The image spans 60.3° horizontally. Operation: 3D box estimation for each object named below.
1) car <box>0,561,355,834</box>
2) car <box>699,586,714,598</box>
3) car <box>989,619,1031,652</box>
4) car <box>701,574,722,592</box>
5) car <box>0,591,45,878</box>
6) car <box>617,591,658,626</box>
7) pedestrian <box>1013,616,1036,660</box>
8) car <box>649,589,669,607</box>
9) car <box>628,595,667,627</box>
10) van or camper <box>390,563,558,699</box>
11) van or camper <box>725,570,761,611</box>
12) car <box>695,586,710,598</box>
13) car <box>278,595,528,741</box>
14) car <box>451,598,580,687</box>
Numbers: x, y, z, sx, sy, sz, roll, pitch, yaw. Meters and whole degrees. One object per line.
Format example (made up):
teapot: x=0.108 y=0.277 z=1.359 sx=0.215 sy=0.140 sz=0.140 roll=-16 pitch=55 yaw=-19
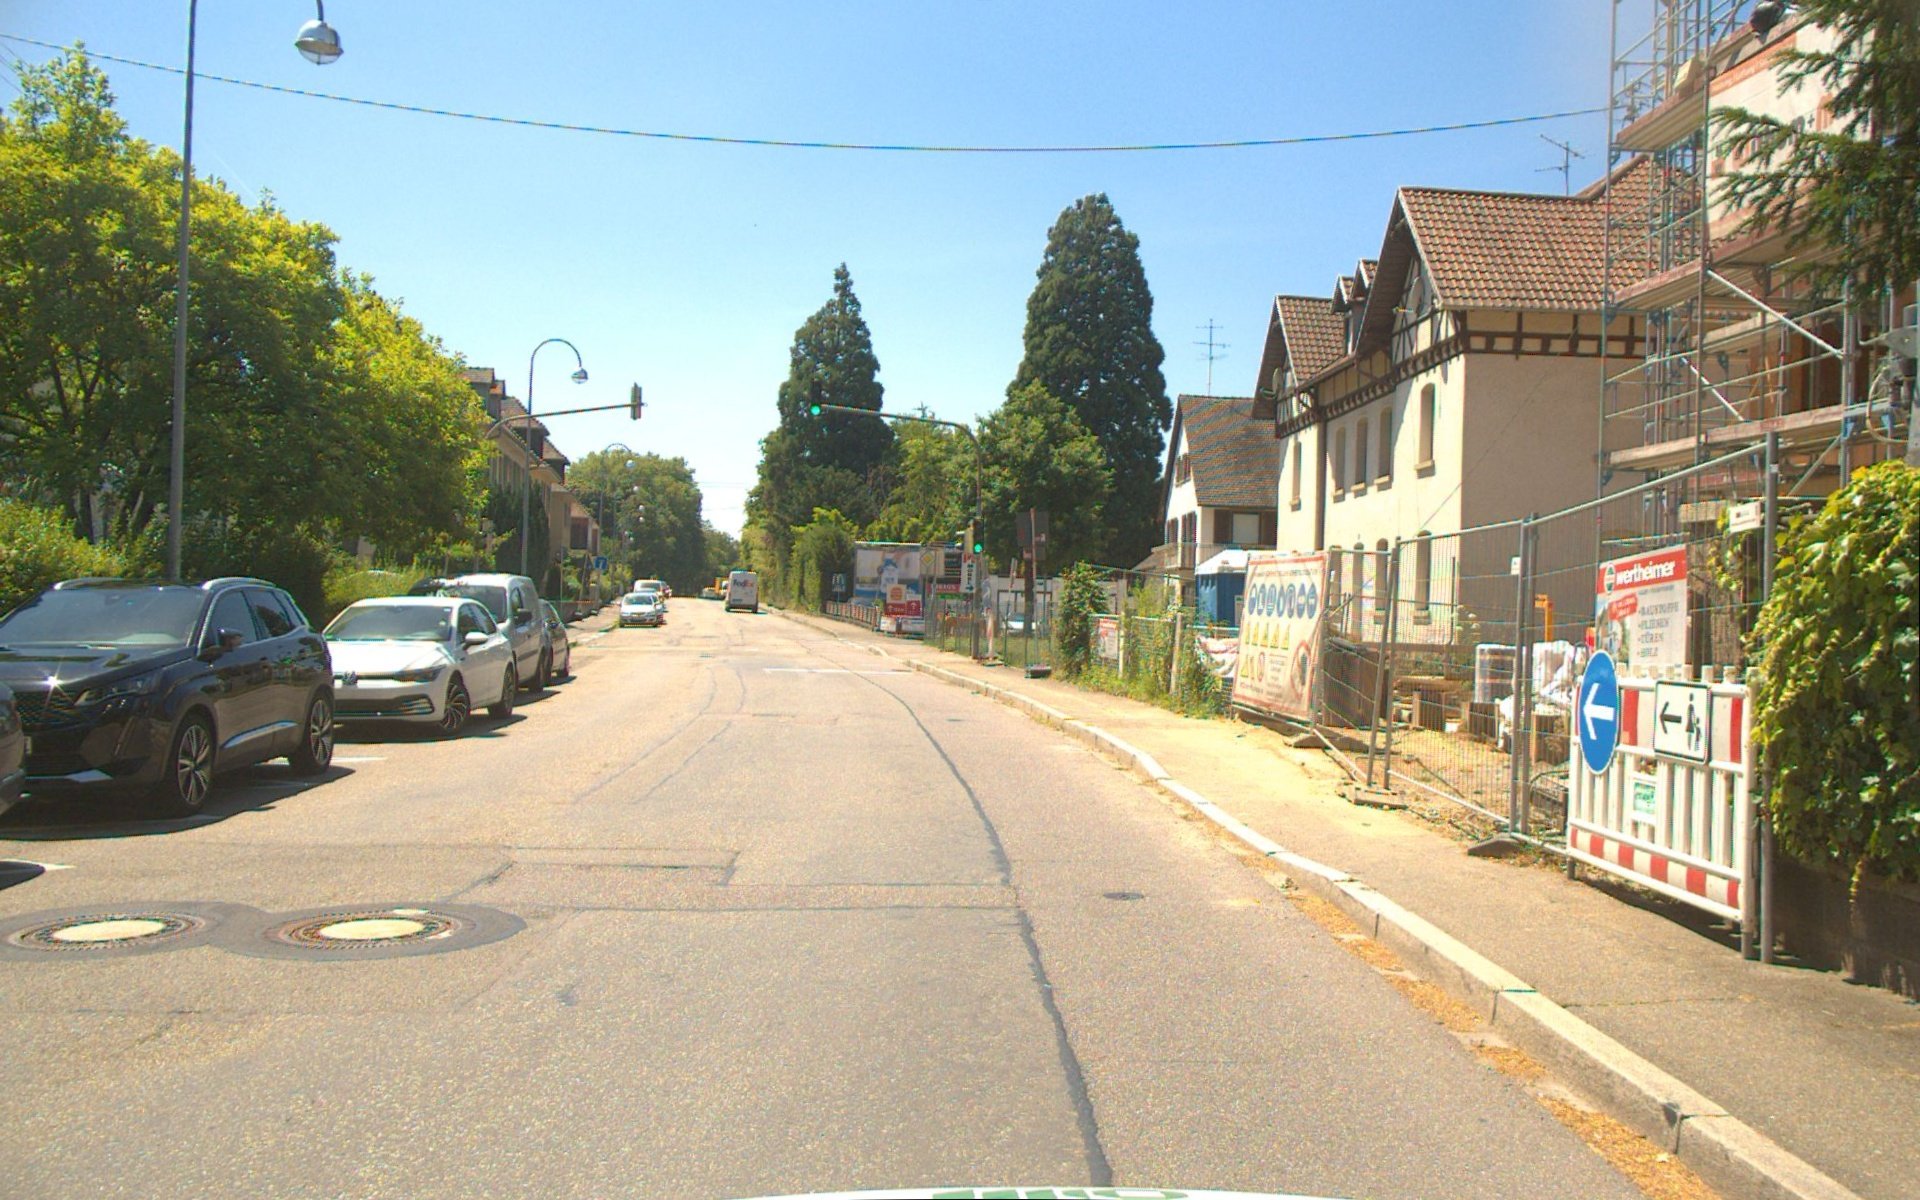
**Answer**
car: x=-5.976 y=0.599 z=12.261 sx=1.648 sy=1.666 sz=4.327 roll=0 pitch=0 yaw=-4
car: x=-35.238 y=-1.103 z=229.735 sx=1.958 sy=1.691 sz=3.990 roll=2 pitch=0 yaw=-11
car: x=2.152 y=1.499 z=70.745 sx=1.676 sy=1.292 sz=3.386 roll=2 pitch=0 yaw=3
car: x=-25.037 y=-1.725 z=166.417 sx=1.958 sy=1.691 sz=3.990 roll=2 pitch=0 yaw=-11
car: x=-5.725 y=0.702 z=6.889 sx=1.648 sy=1.501 sz=4.327 roll=0 pitch=0 yaw=-4
car: x=-14.128 y=0.370 z=72.444 sx=1.728 sy=1.473 sz=3.914 roll=0 pitch=0 yaw=-11
pedestrian: x=2.446 y=1.447 z=62.955 sx=0.682 sy=1.628 sz=0.571 roll=3 pitch=-1 yaw=-10
car: x=-27.521 y=-0.166 z=151.157 sx=1.781 sy=1.593 sz=3.688 roll=1 pitch=0 yaw=-10
car: x=-14.617 y=0.488 z=77.323 sx=1.762 sy=1.426 sz=4.207 roll=0 pitch=0 yaw=-11
van or camper: x=-7.062 y=0.414 z=24.390 sx=1.648 sy=1.836 sz=3.980 roll=0 pitch=0 yaw=-6
van or camper: x=-14.033 y=-0.607 z=106.992 sx=2.220 sy=2.572 sz=4.751 roll=0 pitch=0 yaw=-8
car: x=-37.996 y=-1.162 z=244.164 sx=1.958 sy=1.691 sz=3.990 roll=2 pitch=0 yaw=-11
car: x=-6.164 y=0.687 z=18.782 sx=1.648 sy=1.466 sz=4.244 roll=0 pitch=0 yaw=-4
car: x=-7.676 y=0.691 z=28.871 sx=1.649 sy=1.437 sz=3.920 roll=0 pitch=0 yaw=-7
